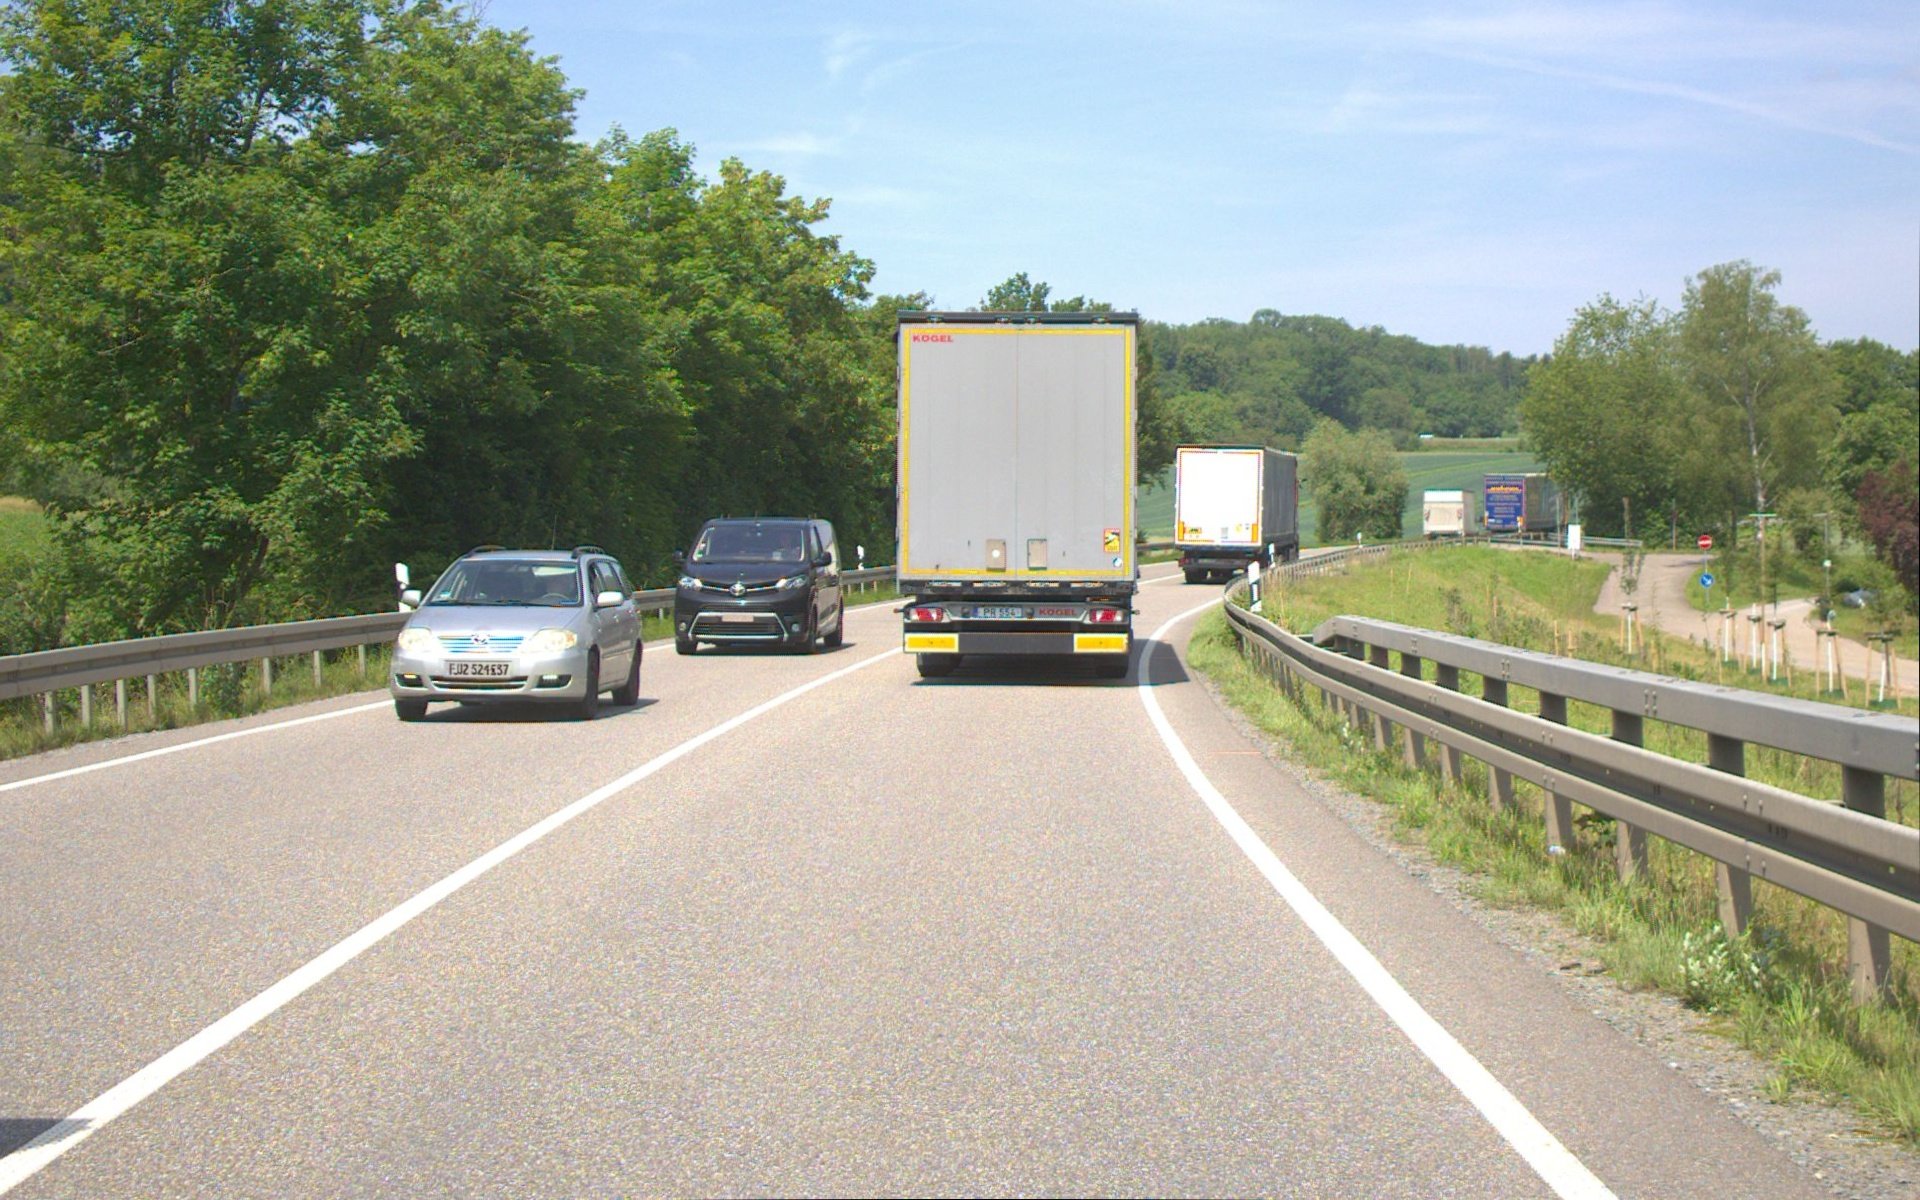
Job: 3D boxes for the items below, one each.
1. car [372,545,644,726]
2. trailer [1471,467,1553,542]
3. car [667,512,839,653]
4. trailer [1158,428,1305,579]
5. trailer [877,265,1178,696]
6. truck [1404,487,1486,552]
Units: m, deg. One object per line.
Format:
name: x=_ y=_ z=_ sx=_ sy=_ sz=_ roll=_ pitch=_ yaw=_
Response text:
car: x=-3.937 y=0.263 z=30.576 sx=1.768 sy=1.489 sz=4.170 roll=0 pitch=1 yaw=2
trailer: x=33.483 y=-5.712 z=208.244 sx=3.650 sy=4.248 sz=12.186 roll=0 pitch=0 yaw=15
car: x=-2.828 y=-0.279 z=48.117 sx=1.922 sy=1.853 sz=5.175 roll=0 pitch=1 yaw=2
trailer: x=8.465 y=-2.816 z=105.296 sx=3.366 sy=4.302 sz=13.859 roll=0 pitch=0 yaw=9
trailer: x=0.857 y=-1.419 z=42.927 sx=3.118 sy=4.484 sz=13.886 roll=0 pitch=1 yaw=1
truck: x=26.417 y=-4.303 z=186.790 sx=3.225 sy=3.354 sz=11.867 roll=0 pitch=0 yaw=14
